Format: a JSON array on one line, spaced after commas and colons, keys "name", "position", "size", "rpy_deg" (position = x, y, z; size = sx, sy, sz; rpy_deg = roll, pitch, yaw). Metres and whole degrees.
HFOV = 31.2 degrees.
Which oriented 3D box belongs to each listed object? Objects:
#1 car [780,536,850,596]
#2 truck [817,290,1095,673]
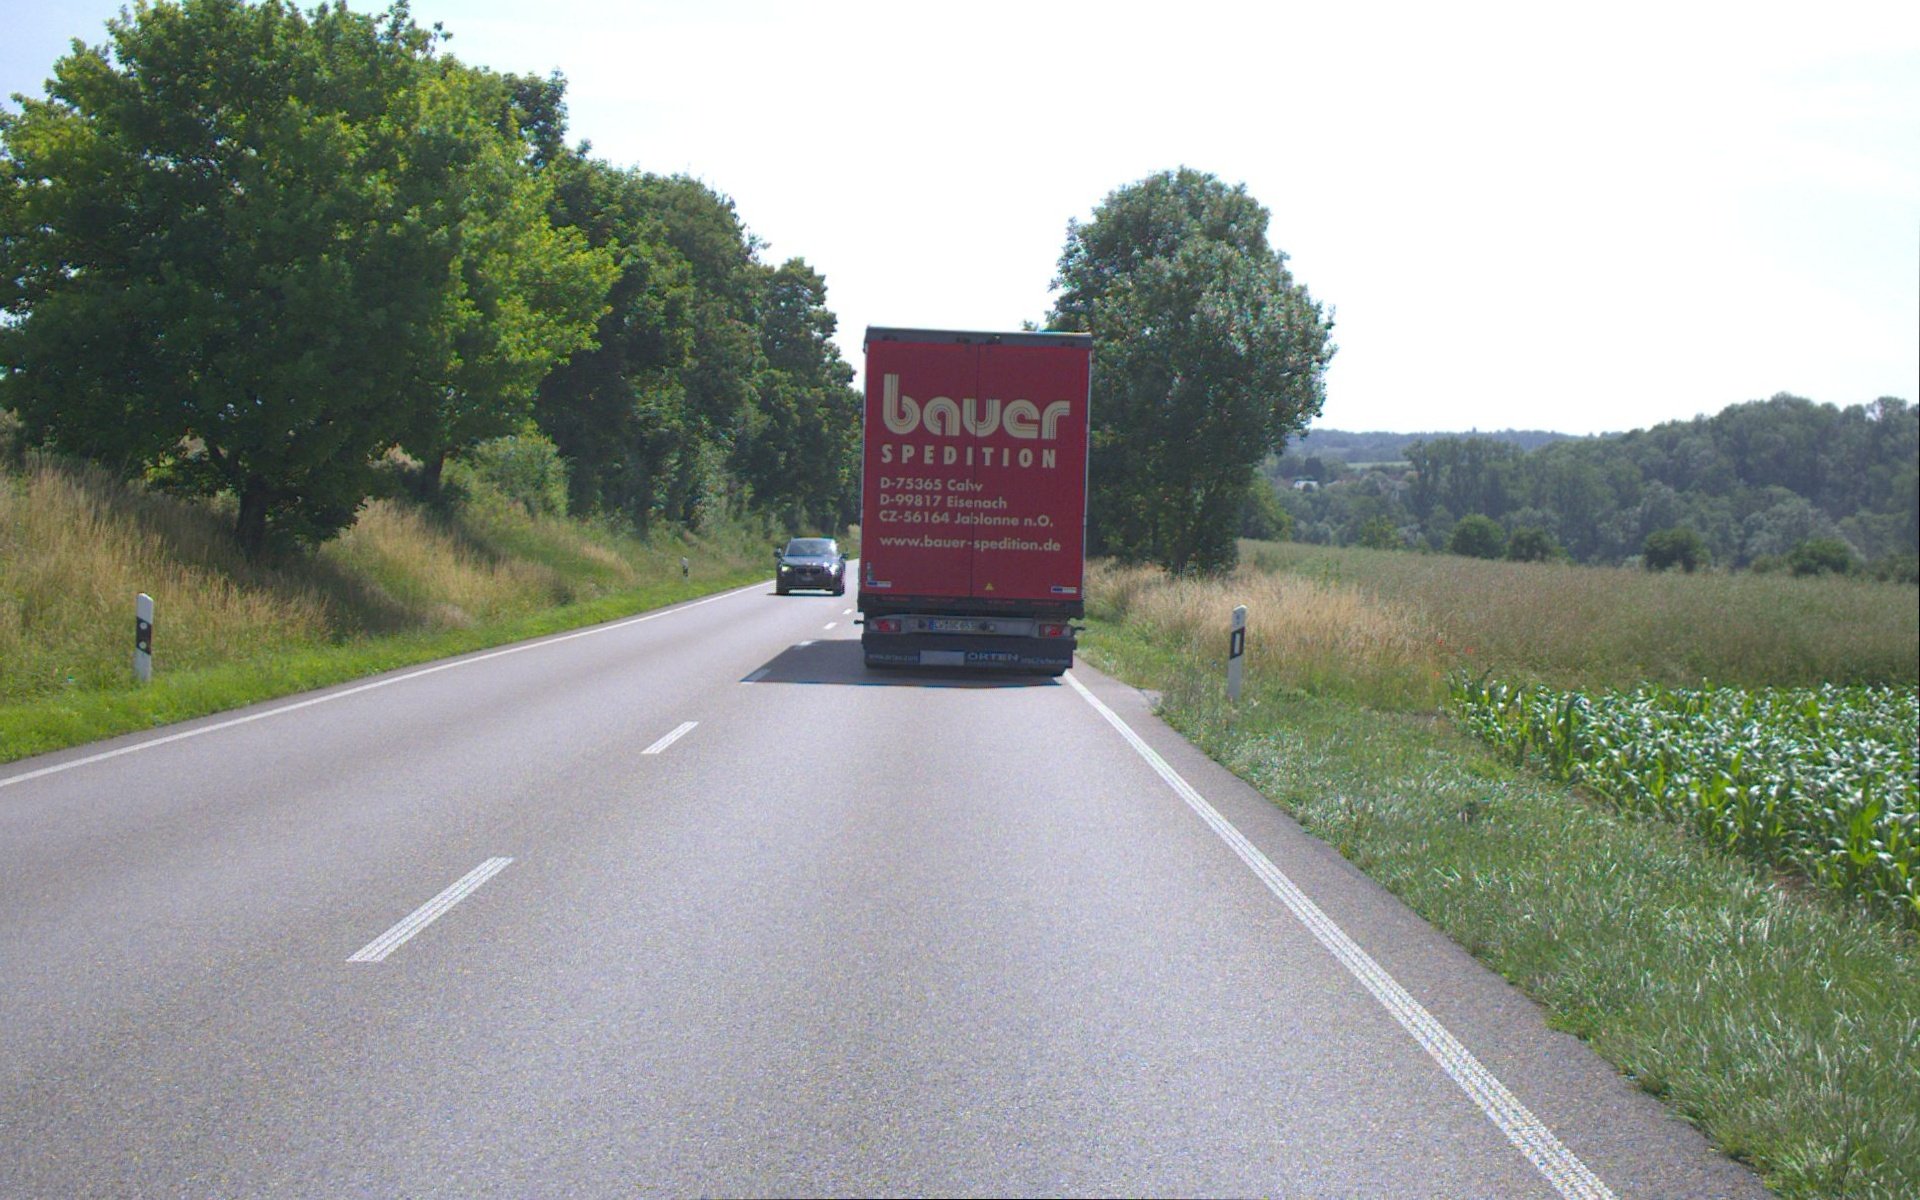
[{"name": "car", "position": [-3.896, -0.926, 92.877], "size": [1.656, 1.529, 4.358], "rpy_deg": [1, 1, 0]}, {"name": "truck", "position": [0.076, -1.338, 42.367], "size": [3.094, 4.248, 8.314], "rpy_deg": [0, 0, 2]}]
